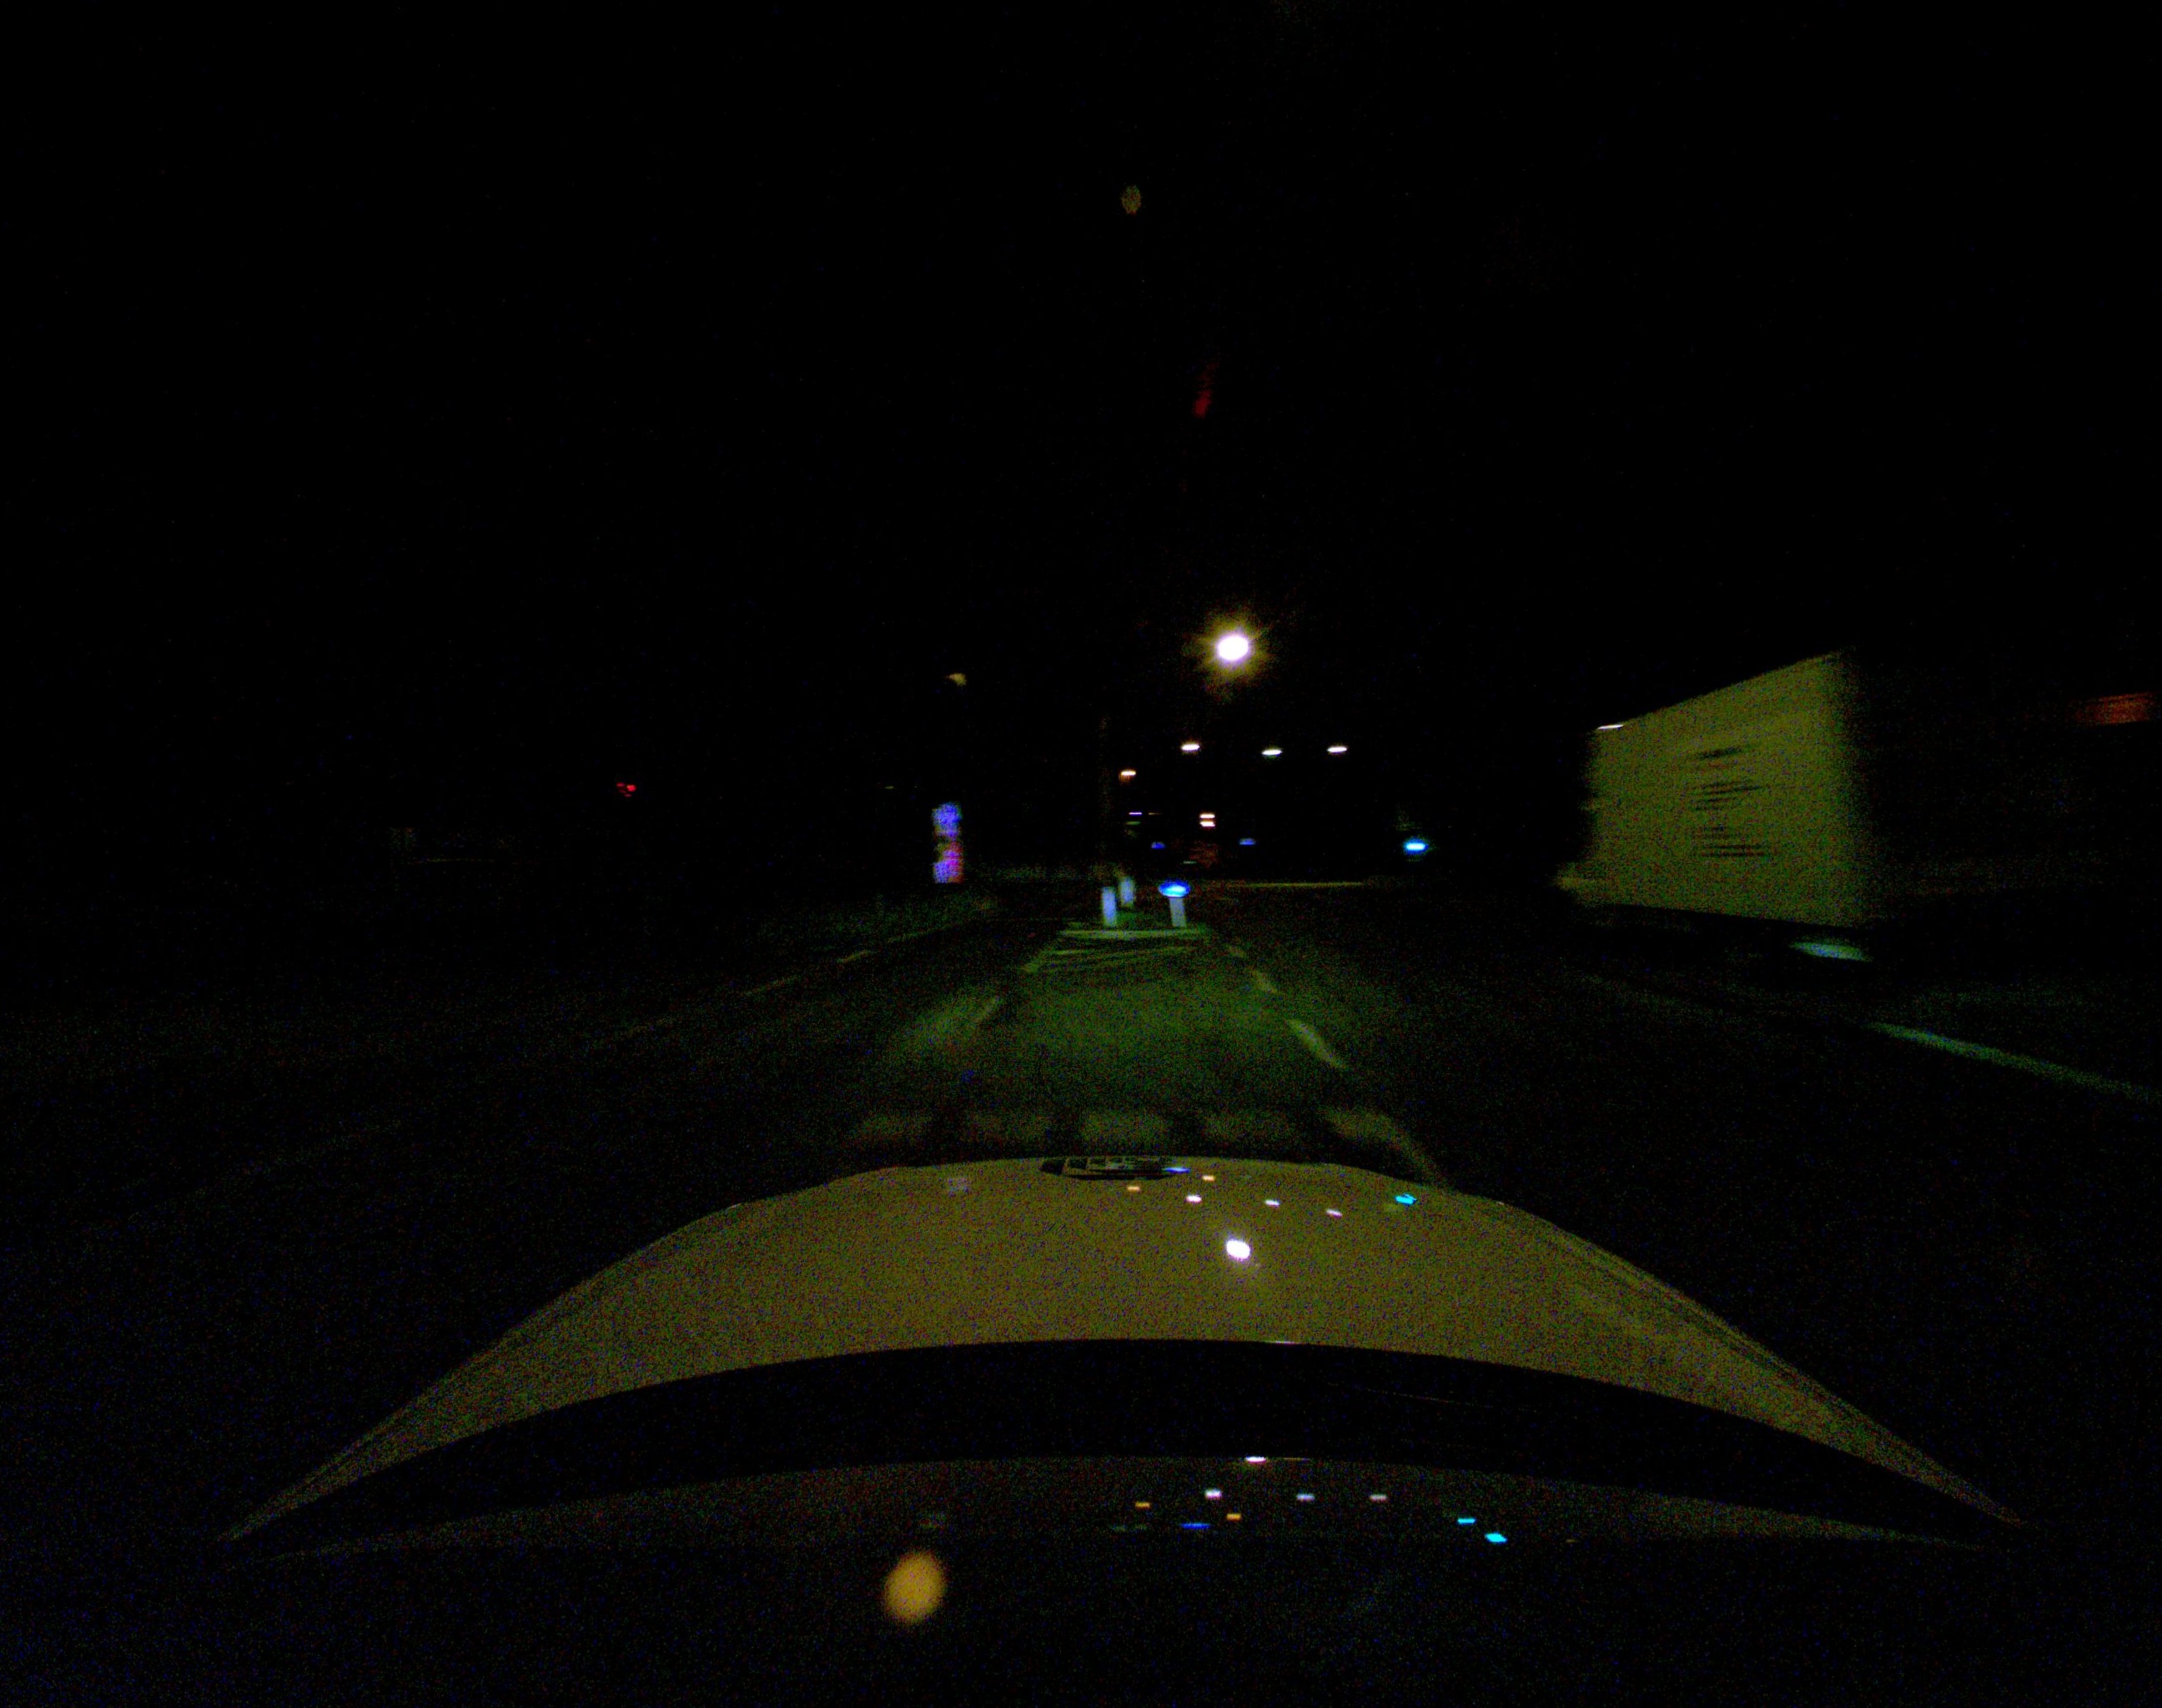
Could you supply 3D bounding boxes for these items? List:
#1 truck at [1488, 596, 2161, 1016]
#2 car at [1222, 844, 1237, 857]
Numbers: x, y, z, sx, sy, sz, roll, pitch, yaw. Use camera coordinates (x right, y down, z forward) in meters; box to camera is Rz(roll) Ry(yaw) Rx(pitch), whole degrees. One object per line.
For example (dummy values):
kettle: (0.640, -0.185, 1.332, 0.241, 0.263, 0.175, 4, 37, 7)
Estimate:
truck: (7.693, -0.342, 9.752, 2.748, 3.044, 7.052, -4, -1, 8)
car: (21.388, -0.544, 117.626, 1.982, 1.769, 4.010, -2, 0, 8)
